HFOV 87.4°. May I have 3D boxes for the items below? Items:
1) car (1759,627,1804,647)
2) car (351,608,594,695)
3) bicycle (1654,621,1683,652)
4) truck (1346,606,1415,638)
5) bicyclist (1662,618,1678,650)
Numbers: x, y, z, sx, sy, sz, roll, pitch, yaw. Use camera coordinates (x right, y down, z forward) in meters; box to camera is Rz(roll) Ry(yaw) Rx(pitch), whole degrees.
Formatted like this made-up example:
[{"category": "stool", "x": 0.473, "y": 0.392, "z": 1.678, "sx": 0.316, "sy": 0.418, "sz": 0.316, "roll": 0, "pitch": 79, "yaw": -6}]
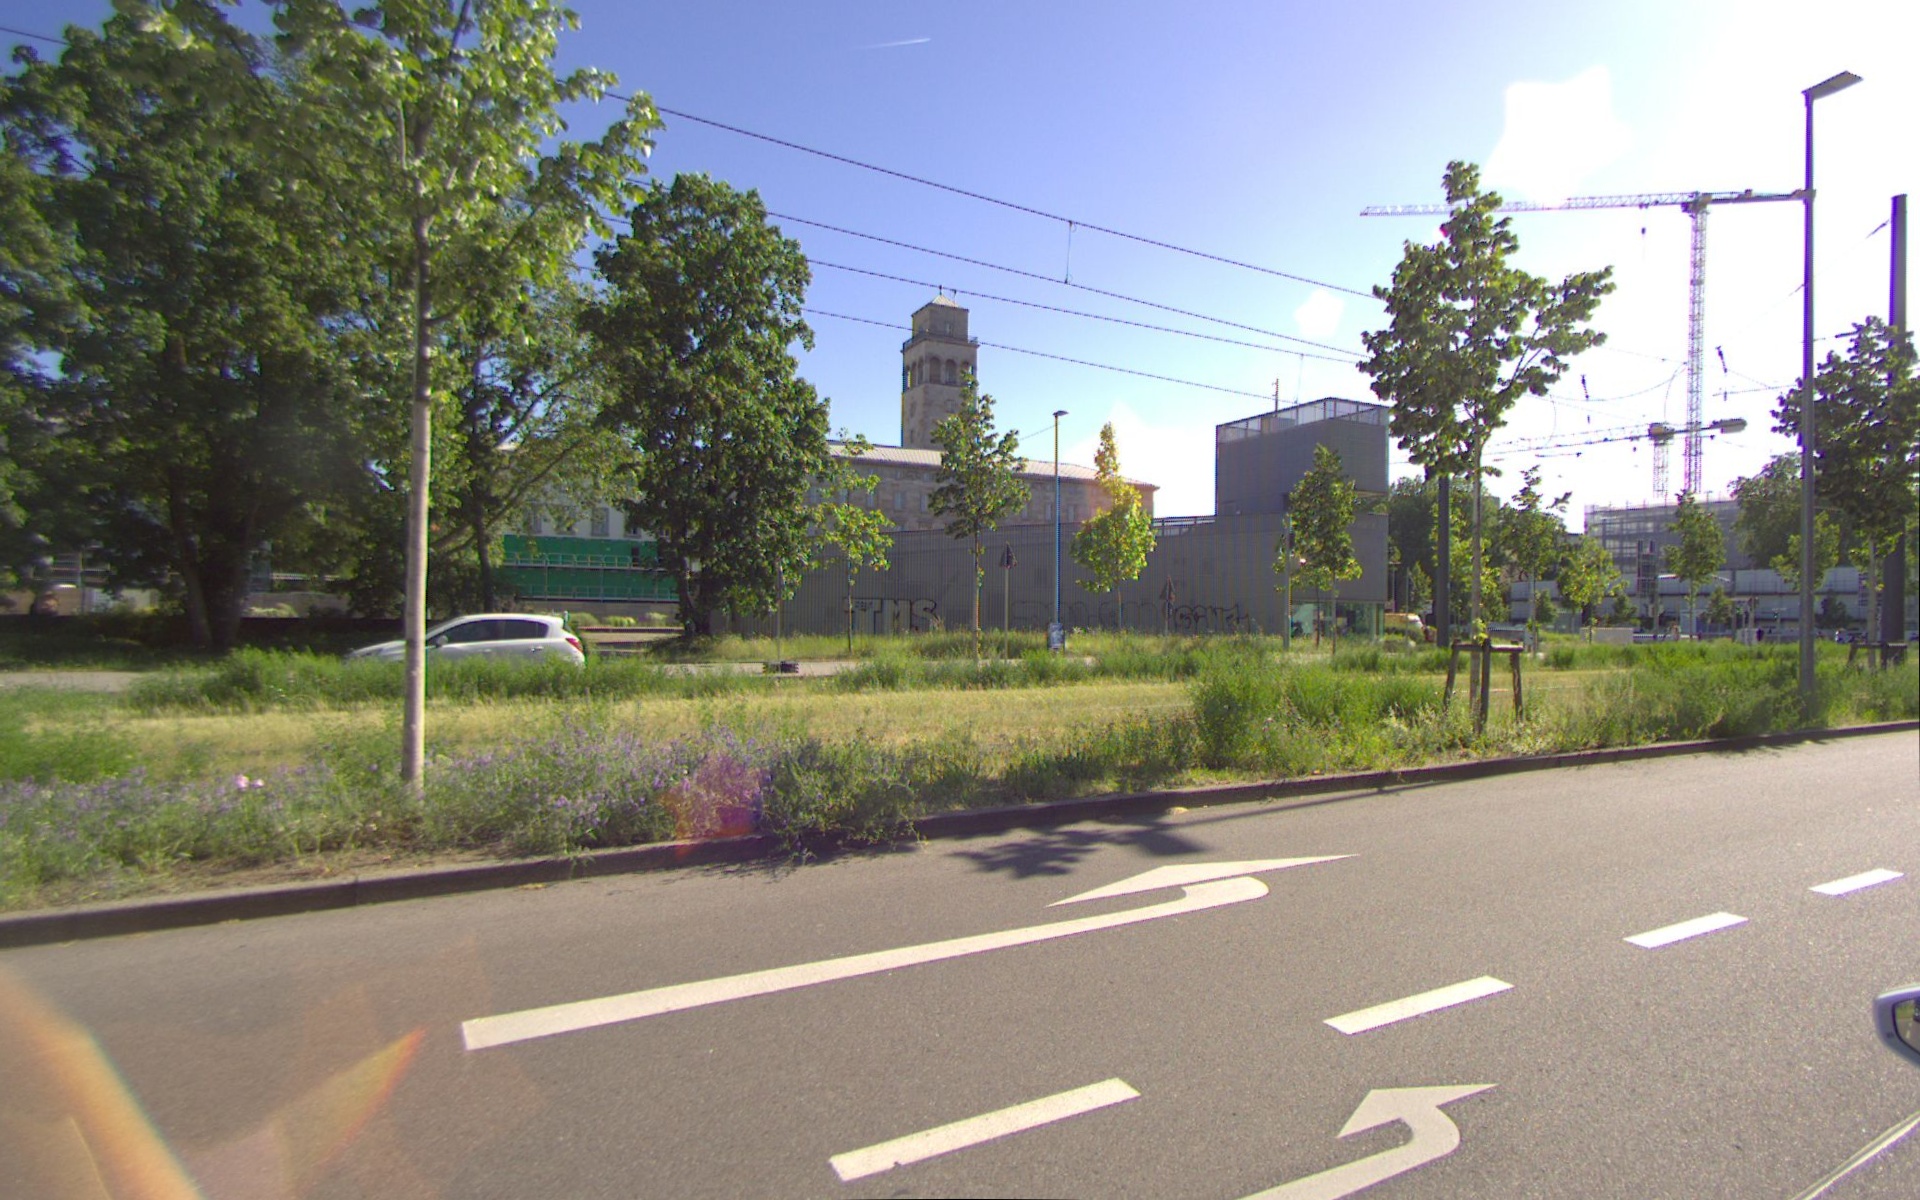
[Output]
[{"category": "car", "x": 71.599, "y": 3.237, "z": 87.522, "sx": 3.952, "sy": 1.577, "sz": 1.703, "roll": 2, "pitch": 1, "yaw": -30}, {"category": "car", "x": -8.761, "y": 0.884, "z": 18.152, "sx": 3.789, "sy": 1.417, "sz": 1.624, "roll": 1, "pitch": 0, "yaw": -31}, {"category": "bicycle", "x": 33.943, "y": 1.749, "z": 48.102, "sx": 1.890, "sy": 1.475, "sz": 0.358, "roll": 1, "pitch": 0, "yaw": -30}, {"category": "truck", "x": 45.117, "y": 2.351, "z": 107.940, "sx": 1.977, "sy": 3.002, "sz": 6.930, "roll": 2, "pitch": 1, "yaw": -30}, {"category": "bicyclist", "x": 34.013, "y": 1.622, "z": 48.141, "sx": 0.533, "sy": 1.474, "sz": 0.392, "roll": 1, "pitch": 1, "yaw": -30}]
